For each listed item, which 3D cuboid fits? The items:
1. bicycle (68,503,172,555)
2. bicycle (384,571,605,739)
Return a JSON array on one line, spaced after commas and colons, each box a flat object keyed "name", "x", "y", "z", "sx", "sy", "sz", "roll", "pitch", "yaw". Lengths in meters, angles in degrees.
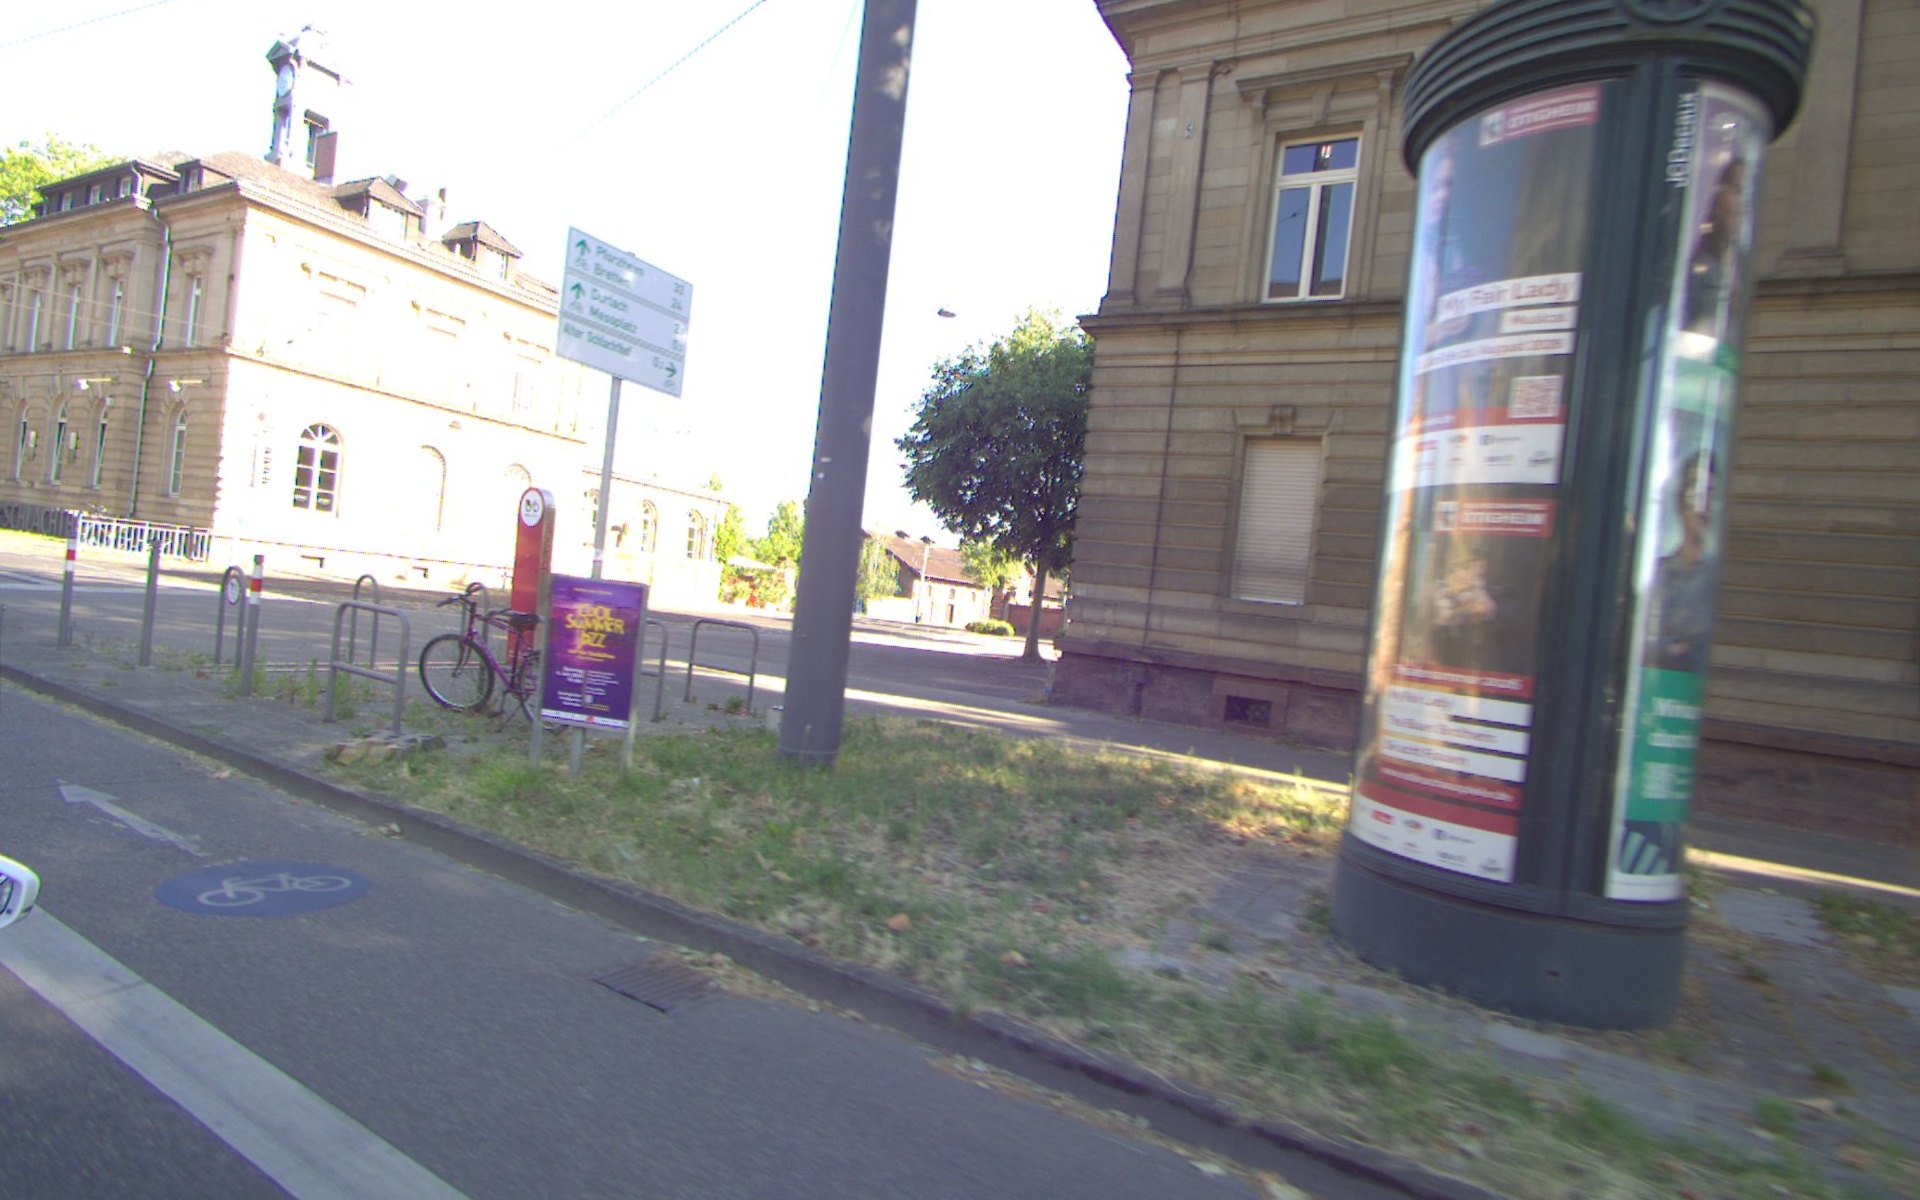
[{"name": "bicycle", "x": -24.344, "y": -2.042, "z": 29.199, "sx": 0.752, "sy": 1.225, "sz": 2.139, "roll": 7, "pitch": 1, "yaw": 28}, {"name": "bicycle", "x": -3.691, "y": 0.404, "z": 7.935, "sx": 1.740, "sy": 1.075, "sz": 0.541, "roll": 7, "pitch": 1, "yaw": 27}]
